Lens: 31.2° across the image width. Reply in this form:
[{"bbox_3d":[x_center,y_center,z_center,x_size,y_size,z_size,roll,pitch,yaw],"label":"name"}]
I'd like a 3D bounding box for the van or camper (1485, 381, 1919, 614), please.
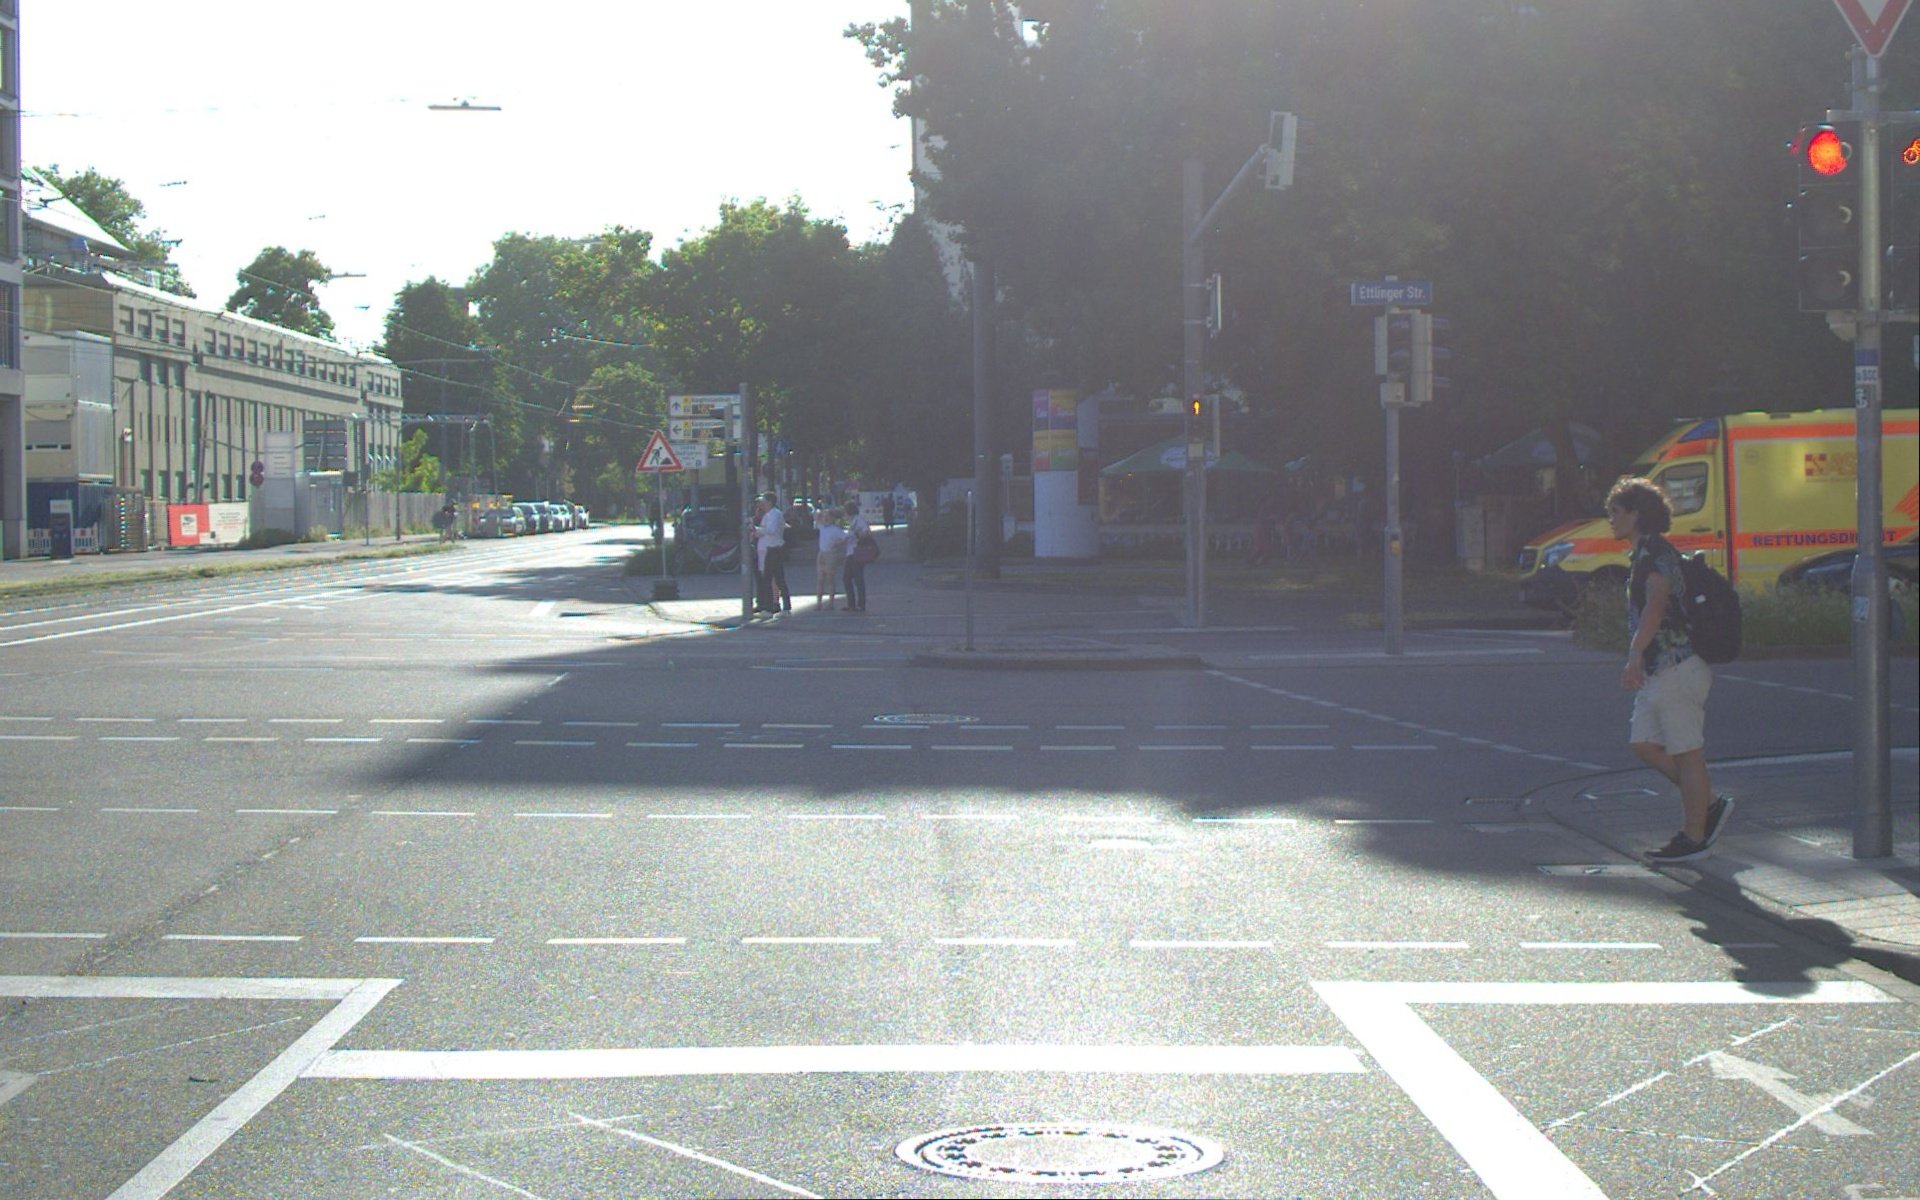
[{"bbox_3d":[10.372,-1.299,44.789,6.709,2.852,2.910,1,1,4],"label":"van or camper"}]

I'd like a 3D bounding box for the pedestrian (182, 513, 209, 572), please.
[{"bbox_3d":[-17.034,-1.282,76.577,0.511,1.324,0.369,0,1,1],"label":"pedestrian"}]

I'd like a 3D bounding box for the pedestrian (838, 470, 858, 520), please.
[{"bbox_3d":[-8.212,-7.700,252.068,1.401,3.584,1.568,1,0,-1],"label":"pedestrian"}]

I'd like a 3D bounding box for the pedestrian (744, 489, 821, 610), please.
[{"bbox_3d":[-2.645,-0.756,51.123,0.965,1.778,0.780,-1,1,-17],"label":"pedestrian"}]

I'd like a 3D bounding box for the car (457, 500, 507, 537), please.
[{"bbox_3d":[-22.514,-3.843,161.996,1.819,1.706,3.806,-1,1,-1],"label":"car"}]

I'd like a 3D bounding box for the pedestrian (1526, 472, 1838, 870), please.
[{"bbox_3d":[3.239,0.294,15.506,1.039,1.715,1.035,-1,1,-12],"label":"pedestrian"}]

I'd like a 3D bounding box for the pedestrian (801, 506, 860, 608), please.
[{"bbox_3d":[-2.003,-0.672,53.054,0.762,1.553,0.588,-1,1,-17],"label":"pedestrian"}]

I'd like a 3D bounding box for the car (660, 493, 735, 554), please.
[{"bbox_3d":[-6.776,-1.966,88.943,1.684,1.495,3.509,1,1,-1],"label":"car"}]

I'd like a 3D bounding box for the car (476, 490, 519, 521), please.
[{"bbox_3d":[-22.378,-4.581,166.447,1.609,1.493,3.806,-1,2,-1],"label":"car"}]

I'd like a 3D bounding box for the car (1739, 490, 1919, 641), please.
[{"bbox_3d":[11.247,-0.362,39.089,4.314,1.641,1.888,1,1,0],"label":"car"}]

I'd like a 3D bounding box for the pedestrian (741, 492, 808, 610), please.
[{"bbox_3d":[-2.860,-0.757,52.852,0.847,1.778,0.780,-1,1,-17],"label":"pedestrian"}]

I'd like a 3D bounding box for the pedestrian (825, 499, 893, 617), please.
[{"bbox_3d":[-1.544,-0.645,52.430,0.847,1.778,0.780,-1,1,-17],"label":"pedestrian"}]

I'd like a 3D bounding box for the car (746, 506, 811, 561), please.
[{"bbox_3d":[-5.173,-1.878,98.139,1.684,1.495,3.509,1,1,-1],"label":"car"}]

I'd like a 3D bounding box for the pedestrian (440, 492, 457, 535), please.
[{"bbox_3d":[-18.017,-3.054,121.150,0.524,1.479,0.438,1,0,-2],"label":"pedestrian"}]

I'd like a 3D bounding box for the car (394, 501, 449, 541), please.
[{"bbox_3d":[-23.550,-3.478,150.402,1.819,1.706,3.806,-1,1,-1],"label":"car"}]

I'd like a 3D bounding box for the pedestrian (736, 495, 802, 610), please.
[{"bbox_3d":[-2.984,-0.743,53.734,0.847,1.778,0.780,-1,1,-17],"label":"pedestrian"}]
